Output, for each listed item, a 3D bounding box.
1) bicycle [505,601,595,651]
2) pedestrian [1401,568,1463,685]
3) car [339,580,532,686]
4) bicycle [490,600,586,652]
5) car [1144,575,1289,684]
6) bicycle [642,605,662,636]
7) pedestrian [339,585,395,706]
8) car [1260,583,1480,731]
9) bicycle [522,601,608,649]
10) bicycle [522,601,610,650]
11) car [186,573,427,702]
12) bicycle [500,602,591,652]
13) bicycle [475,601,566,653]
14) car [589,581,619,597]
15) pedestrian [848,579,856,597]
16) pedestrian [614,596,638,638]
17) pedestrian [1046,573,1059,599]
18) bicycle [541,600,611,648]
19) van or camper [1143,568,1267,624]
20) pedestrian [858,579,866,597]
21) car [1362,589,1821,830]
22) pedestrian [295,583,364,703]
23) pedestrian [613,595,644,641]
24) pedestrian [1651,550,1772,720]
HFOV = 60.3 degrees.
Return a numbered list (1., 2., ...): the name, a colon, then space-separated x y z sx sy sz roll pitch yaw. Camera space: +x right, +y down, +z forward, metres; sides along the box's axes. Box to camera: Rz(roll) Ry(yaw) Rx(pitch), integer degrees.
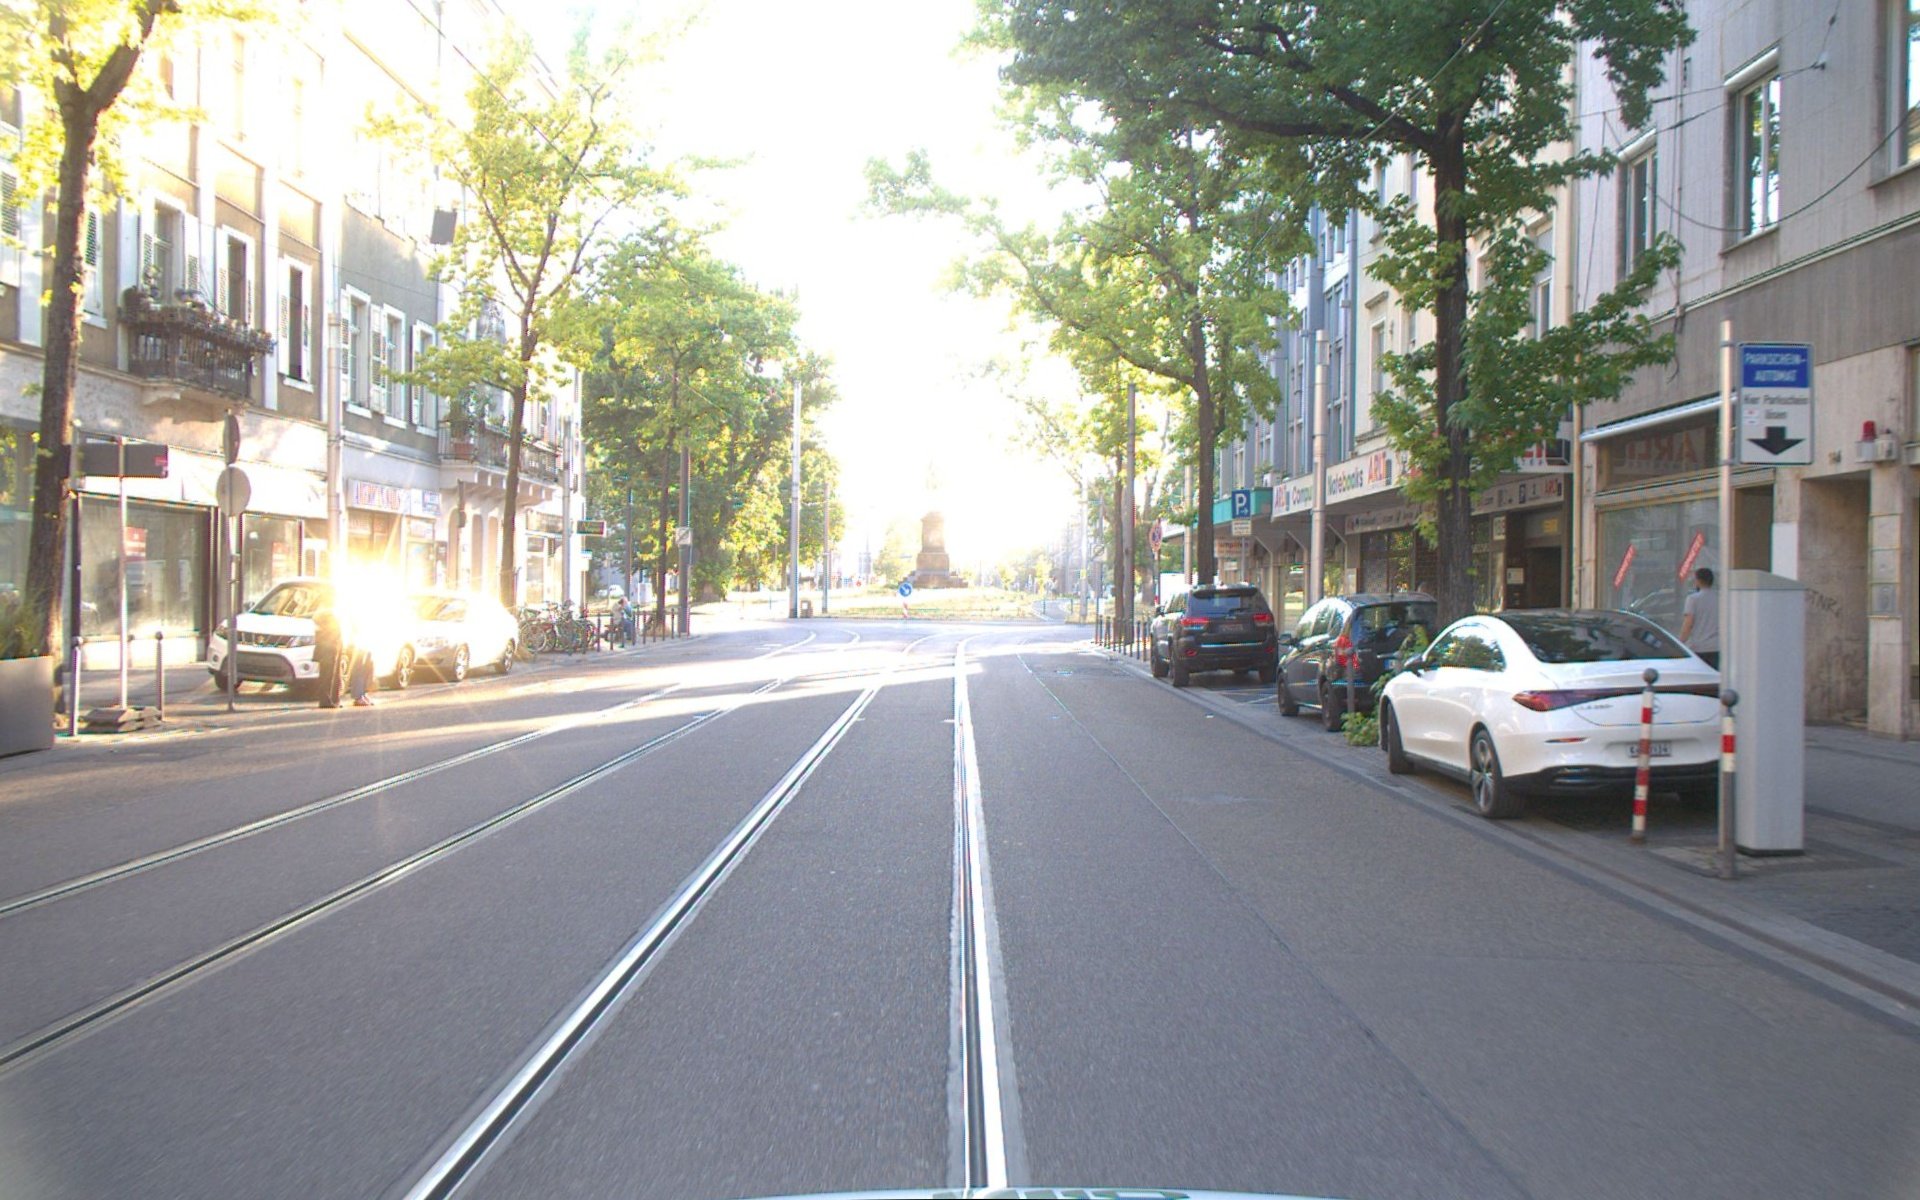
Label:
1. bicycle: -9.871 0.634 39.858 1.998 1.124 0.497 3 -1 -26
2. pedestrian: 7.054 0.385 24.741 0.630 1.699 0.786 -3 0 0
3. car: -9.172 0.528 29.375 1.799 1.607 4.702 4 0 0
4. bicycle: -9.841 0.605 38.632 2.082 1.124 0.497 3 -1 -26
5. car: 4.709 0.489 30.988 1.899 1.790 4.679 -3 0 0
6. bicycle: -9.840 0.645 52.924 0.329 0.962 1.510 0 0 1
7. pedestrian: -7.941 0.600 22.159 0.510 1.596 0.634 0 -1 0
8. car: 5.118 0.647 21.165 1.740 1.618 3.891 -3 0 -1
9. bicycle: -9.859 0.620 41.323 1.981 1.124 0.501 2 -1 2
10. bicycle: -9.700 0.629 40.738 1.981 1.124 0.501 2 -1 2
11. car: -9.484 0.493 24.383 1.799 1.607 4.116 4 0 0
12. bicycle: -9.838 0.642 39.278 1.998 1.124 0.497 3 -1 -26
13. bicycle: -10.020 0.618 37.727 1.921 1.124 0.563 3 -1 -26
14. car: -34.453 -1.079 160.207 1.838 1.445 3.927 1 1 2
15. pedestrian: -10.286 -1.147 157.785 0.754 1.634 0.637 0 0 -7
16. pedestrian: -9.940 0.504 49.259 0.579 1.214 0.641 1 0 -3
17. pedestrian: 5.903 -0.886 105.450 0.623 1.634 0.771 1 0 25
18. bicycle: -9.813 0.609 42.195 1.989 1.124 0.499 2 -1 35
19. van or camper: 11.606 -0.214 78.002 2.572 2.515 6.274 1 1 45
20. pedestrian: -9.323 -1.135 157.310 0.754 1.634 0.637 0 0 -7
21. car: 4.831 0.724 13.512 1.953 1.524 4.680 -3 1 1
22. pedestrian: -8.160 0.549 21.426 0.607 1.536 0.729 0 -1 0
23. pedestrian: -9.550 0.513 47.621 0.713 1.313 0.856 1 0 -3
24. pedestrian: 8.260 0.375 18.216 0.840 1.783 0.932 -3 0 0
